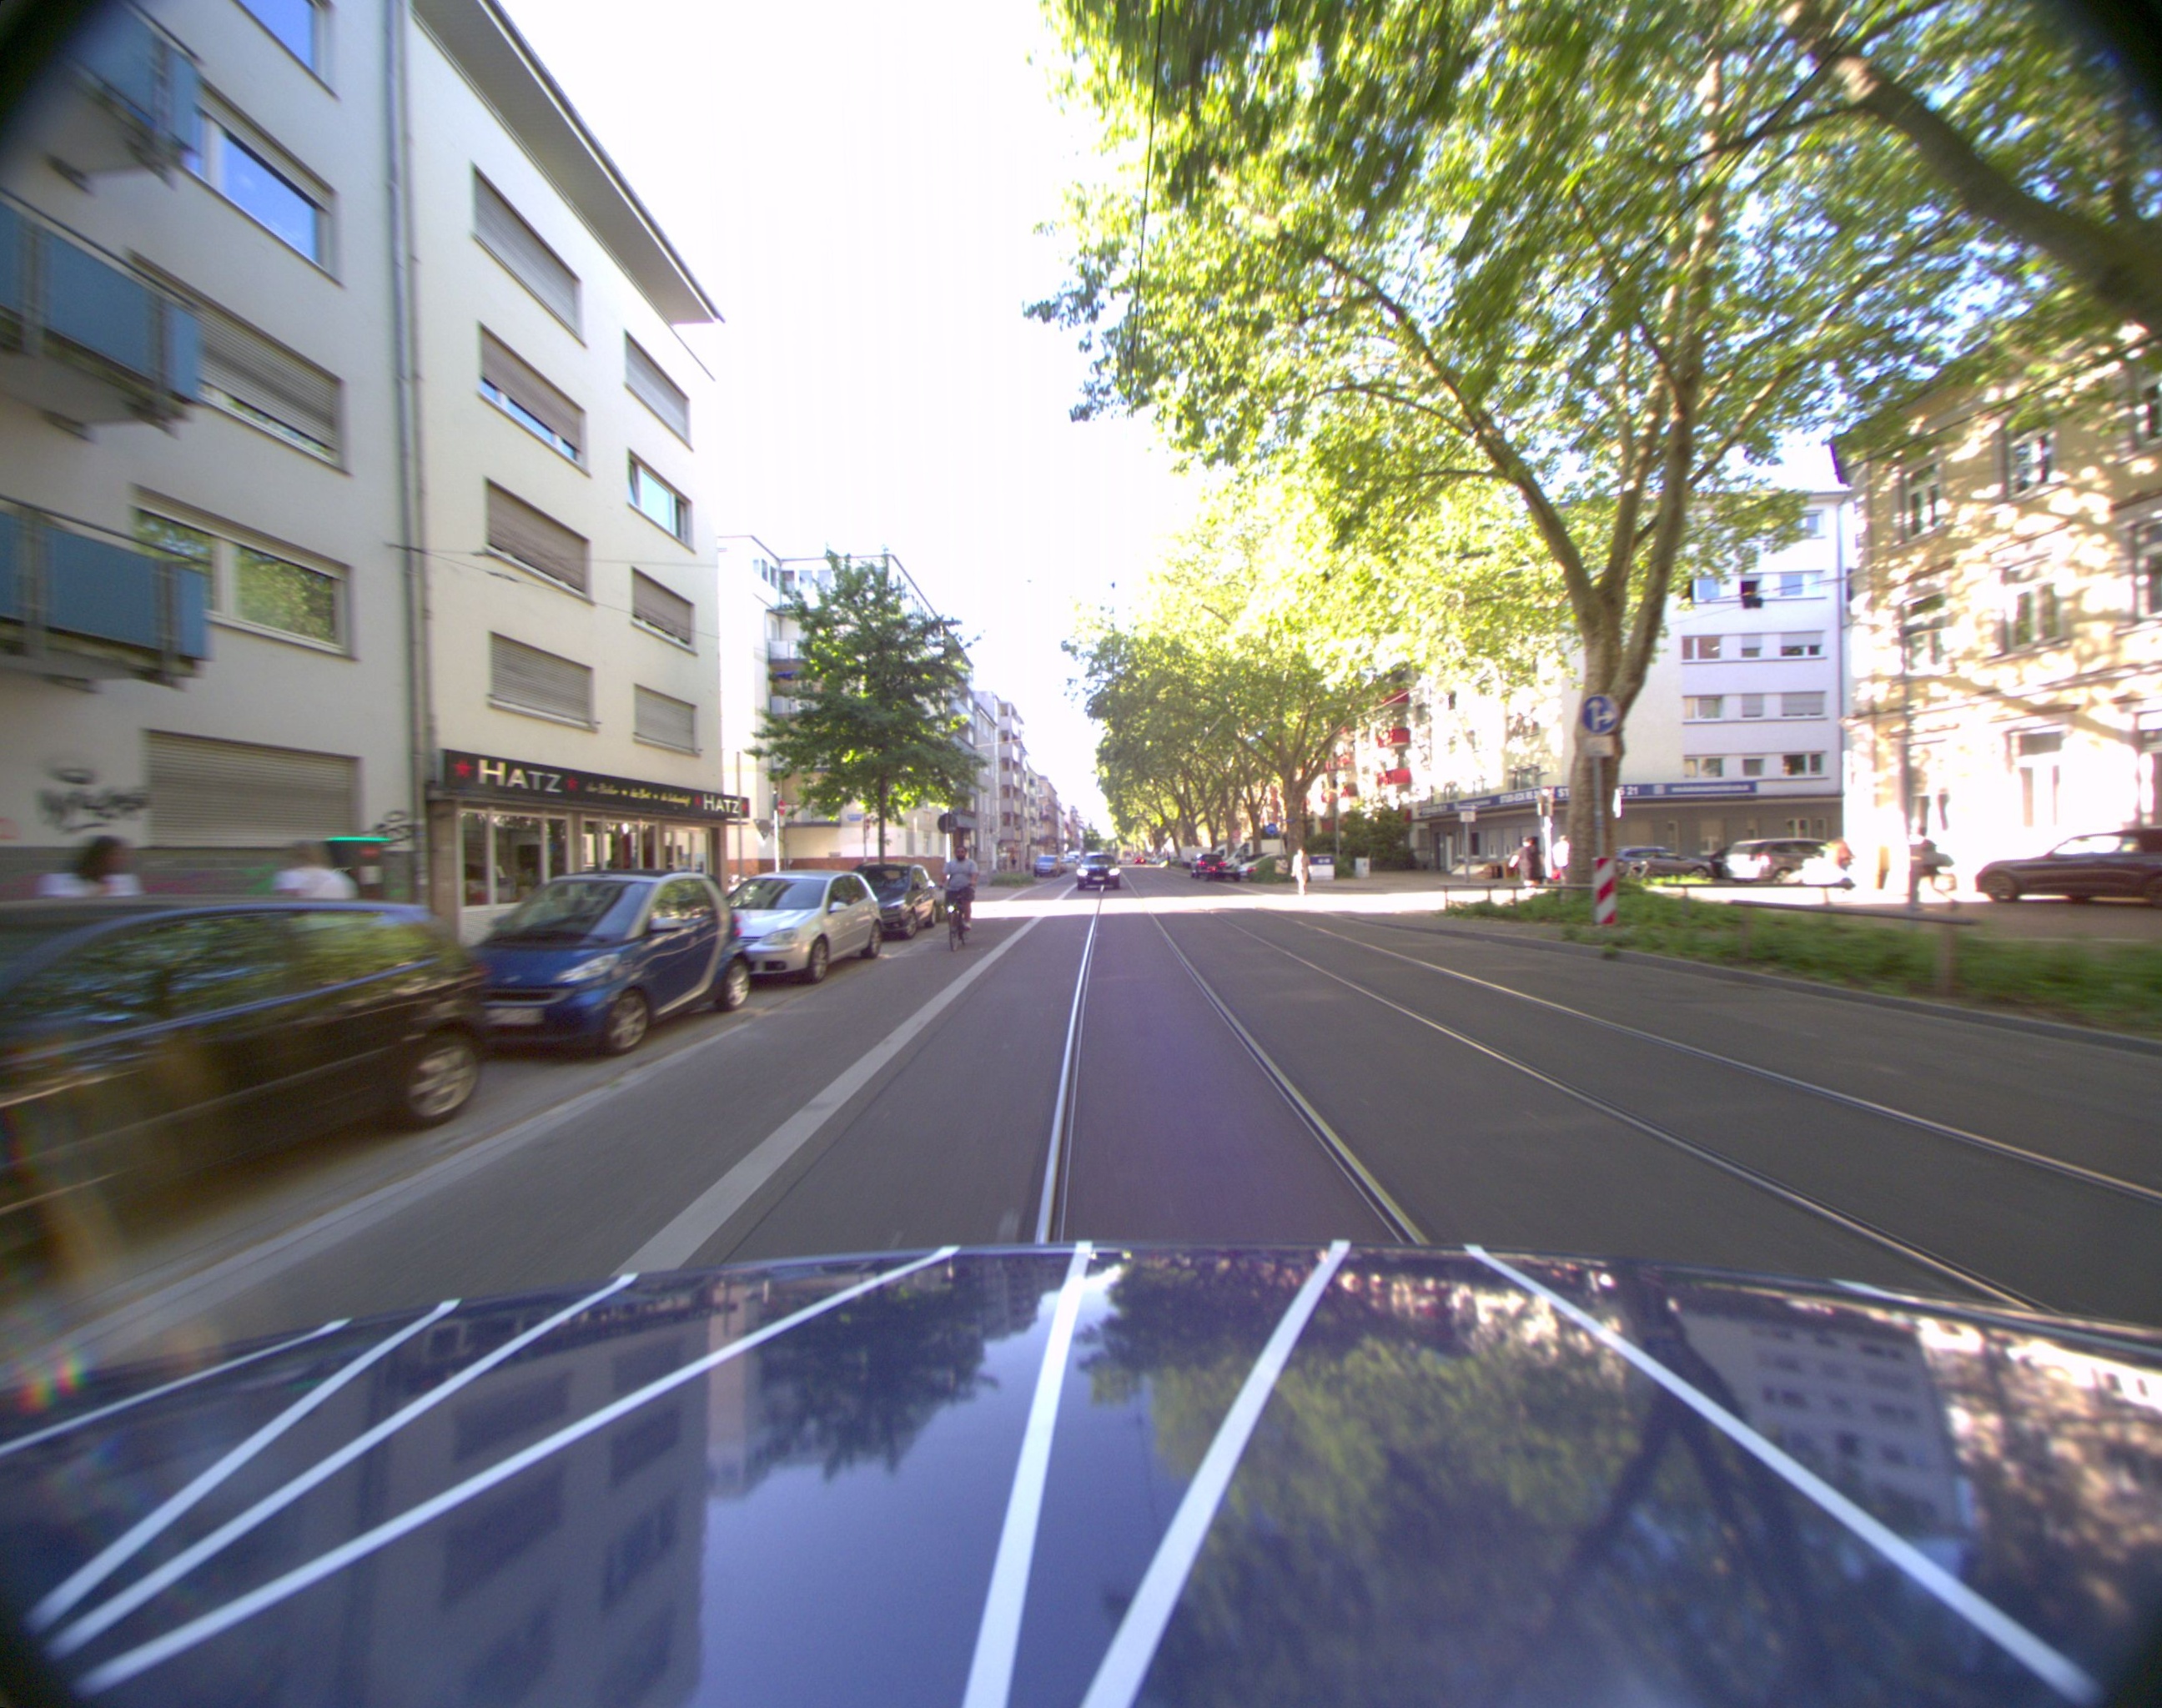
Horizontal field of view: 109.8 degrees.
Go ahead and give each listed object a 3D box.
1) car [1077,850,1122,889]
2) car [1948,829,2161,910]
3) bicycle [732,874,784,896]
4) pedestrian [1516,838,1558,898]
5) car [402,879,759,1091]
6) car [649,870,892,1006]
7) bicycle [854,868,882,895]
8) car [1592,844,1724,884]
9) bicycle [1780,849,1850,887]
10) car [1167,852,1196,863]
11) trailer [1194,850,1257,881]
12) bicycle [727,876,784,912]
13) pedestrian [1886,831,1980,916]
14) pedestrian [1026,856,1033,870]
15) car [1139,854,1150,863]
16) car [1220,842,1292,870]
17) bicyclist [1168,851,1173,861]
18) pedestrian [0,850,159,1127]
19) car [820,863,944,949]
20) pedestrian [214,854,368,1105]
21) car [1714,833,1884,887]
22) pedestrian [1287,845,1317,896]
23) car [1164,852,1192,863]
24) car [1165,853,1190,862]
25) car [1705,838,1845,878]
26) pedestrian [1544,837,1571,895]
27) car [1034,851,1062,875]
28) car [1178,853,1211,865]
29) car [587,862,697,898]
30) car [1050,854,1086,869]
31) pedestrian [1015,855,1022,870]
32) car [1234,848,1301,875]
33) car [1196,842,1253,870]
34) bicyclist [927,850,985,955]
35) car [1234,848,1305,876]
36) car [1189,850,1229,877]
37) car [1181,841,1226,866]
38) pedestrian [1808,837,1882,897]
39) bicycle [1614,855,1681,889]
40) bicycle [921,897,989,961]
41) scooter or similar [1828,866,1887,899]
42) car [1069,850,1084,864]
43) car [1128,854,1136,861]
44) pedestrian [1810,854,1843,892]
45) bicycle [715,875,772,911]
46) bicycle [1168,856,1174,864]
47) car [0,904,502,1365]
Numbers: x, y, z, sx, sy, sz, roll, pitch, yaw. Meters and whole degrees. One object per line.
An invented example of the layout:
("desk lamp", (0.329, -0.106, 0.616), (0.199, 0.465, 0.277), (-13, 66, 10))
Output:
("car", (0.913, 0.682, 36.209), (1.998, 1.723, 4.400), (-1, 1, 2))
("car", (19.706, 0.254, 14.473), (1.784, 1.379, 3.999), (-2, 0, 0))
("bicycle", (-14.788, 1.427, 34.813), (2.109, 0.986, 0.607), (-1, 1, 5))
("pedestrian", (13.642, 0.401, 22.758), (0.740, 1.747, 0.734), (-2, 1, -16))
("car", (-4.459, 1.050, 7.269), (1.448, 1.528, 2.881), (1, 0, 2))
("car", (-4.268, 1.054, 11.238), (1.791, 1.528, 4.128), (1, 0, 2))
("bicycle", (-9.832, 1.272, 35.119), (0.616, 1.144, 1.996), (-1, 1, 2))
("car", (24.424, 0.406, 32.252), (4.152, 1.469, 1.835), (-2, 1, 1))
("bicycle", (22.787, 0.440, 23.597), (1.868, 1.055, 0.656), (-2, -3, -16))
("car", (15.018, 0.543, 113.705), (3.997, 1.458, 2.000), (-2, 1, 0))
("trailer", (8.440, 0.627, 45.107), (2.452, 1.622, 6.583), (1, 0, 0))
("bicycle", (-11.415, 1.405, 26.641), (2.069, 1.200, 0.482), (-2, 1, 23))
("pedestrian", (16.965, 0.376, 15.157), (0.713, 1.628, 1.009), (-2, 1, -1))
("pedestrian", (-6.241, 1.077, 92.707), (0.697, 1.685, 0.678), (-2, 1, 2))
("car", (12.827, 0.888, 154.405), (1.998, 1.723, 4.400), (-2, 0, 2))
("car", (13.680, 0.170, 59.637), (5.134, 1.984, 1.999), (-2, 1, -3))
("bicyclist", (10.260, 0.230, 86.943), (0.533, 1.206, 0.666), (-2, 1, 3))
("pedestrian", (-7.273, 0.899, 5.465), (0.538, 1.841, 0.665), (-1, 1, 26))
("car", (-4.264, 1.045, 16.974), (1.724, 1.562, 4.259), (1, 0, -1))
("pedestrian", (-6.117, 0.924, 5.917), (0.477, 1.841, 0.664), (-1, 1, -2))
("car", (24.659, 0.231, 26.215), (4.011, 1.627, 1.801), (-2, -3, 1))
("pedestrian", (7.878, 0.570, 27.065), (0.700, 1.781, 0.801), (-2, 1, -10))
("car", (14.985, 0.521, 117.042), (3.997, 1.458, 2.000), (-2, 1, 0))
("car", (16.681, 0.643, 131.837), (3.997, 1.458, 2.000), (-2, 1, 0))
("car", (29.266, 0.149, 32.130), (4.152, 1.597, 1.897), (-1, 1, 1))
("pedestrian", (14.857, 0.359, 23.703), (0.668, 1.770, 0.725), (-1, 2, 34))
("car", (-2.833, 0.758, 66.072), (1.958, 1.914, 4.000), (-2, 1, 3))
("car", (14.842, 0.657, 99.290), (3.997, 1.458, 2.000), (-2, 1, 0))
("car", (-20.164, 1.173, 35.015), (3.997, 1.499, 1.725), (-2, 1, 0))
("car", (-1.438, 0.854, 86.815), (3.997, 1.458, 2.000), (-2, 1, 0))
("pedestrian", (-6.480, 0.873, 78.296), (0.590, 1.493, 0.600), (-2, 1, 2))
("car", (12.610, 0.478, 51.447), (3.997, 1.635, 2.000), (-2, 1, 0))
("car", (12.879, 0.165, 68.350), (4.660, 2.292, 2.000), (-2, 1, 2))
("bicyclist", (-2.268, 0.856, 13.936), (0.769, 1.821, 1.099), (-2, 1, 2))
("car", (12.038, 0.514, 48.675), (3.997, 1.600, 1.909), (-2, 1, 0))
("car", (8.478, 0.585, 50.578), (1.928, 1.674, 4.182), (1, 0, 0))
("car", (13.352, -0.063, 83.003), (4.660, 2.518, 2.000), (-2, 1, 2))
("pedestrian", (19.382, 0.319, 19.306), (0.774, 1.470, 1.069), (-2, 1, 0))
("bicycle", (19.475, 0.615, 26.119), (1.867, 1.056, 0.656), (-2, 1, -6))
("bicycle", (-2.257, 1.333, 13.872), (0.790, 0.932, 1.939), (-2, 1, 2))
("scooter or similar", (19.052, 0.685, 18.659), (0.529, 0.749, 0.896), (-2, 1, 0))
("car", (-0.609, 0.421, 116.193), (1.990, 2.085, 4.470), (-2, 1, 3))
("car", (13.491, 1.021, 202.614), (1.998, 1.723, 4.400), (-2, 0, 2))
("pedestrian", (21.382, 0.540, 21.792), (0.544, 1.034, 0.545), (-3, 1, -31))
("bicycle", (-11.627, 1.342, 26.163), (2.069, 1.200, 0.482), (-2, 1, 23))
("bicycle", (10.287, 0.682, 86.971), (0.533, 0.900, 1.557), (-2, 1, 3))
("car", (-4.668, 1.077, 3.112), (1.626, 1.473, 3.889), (1, 0, -1))
